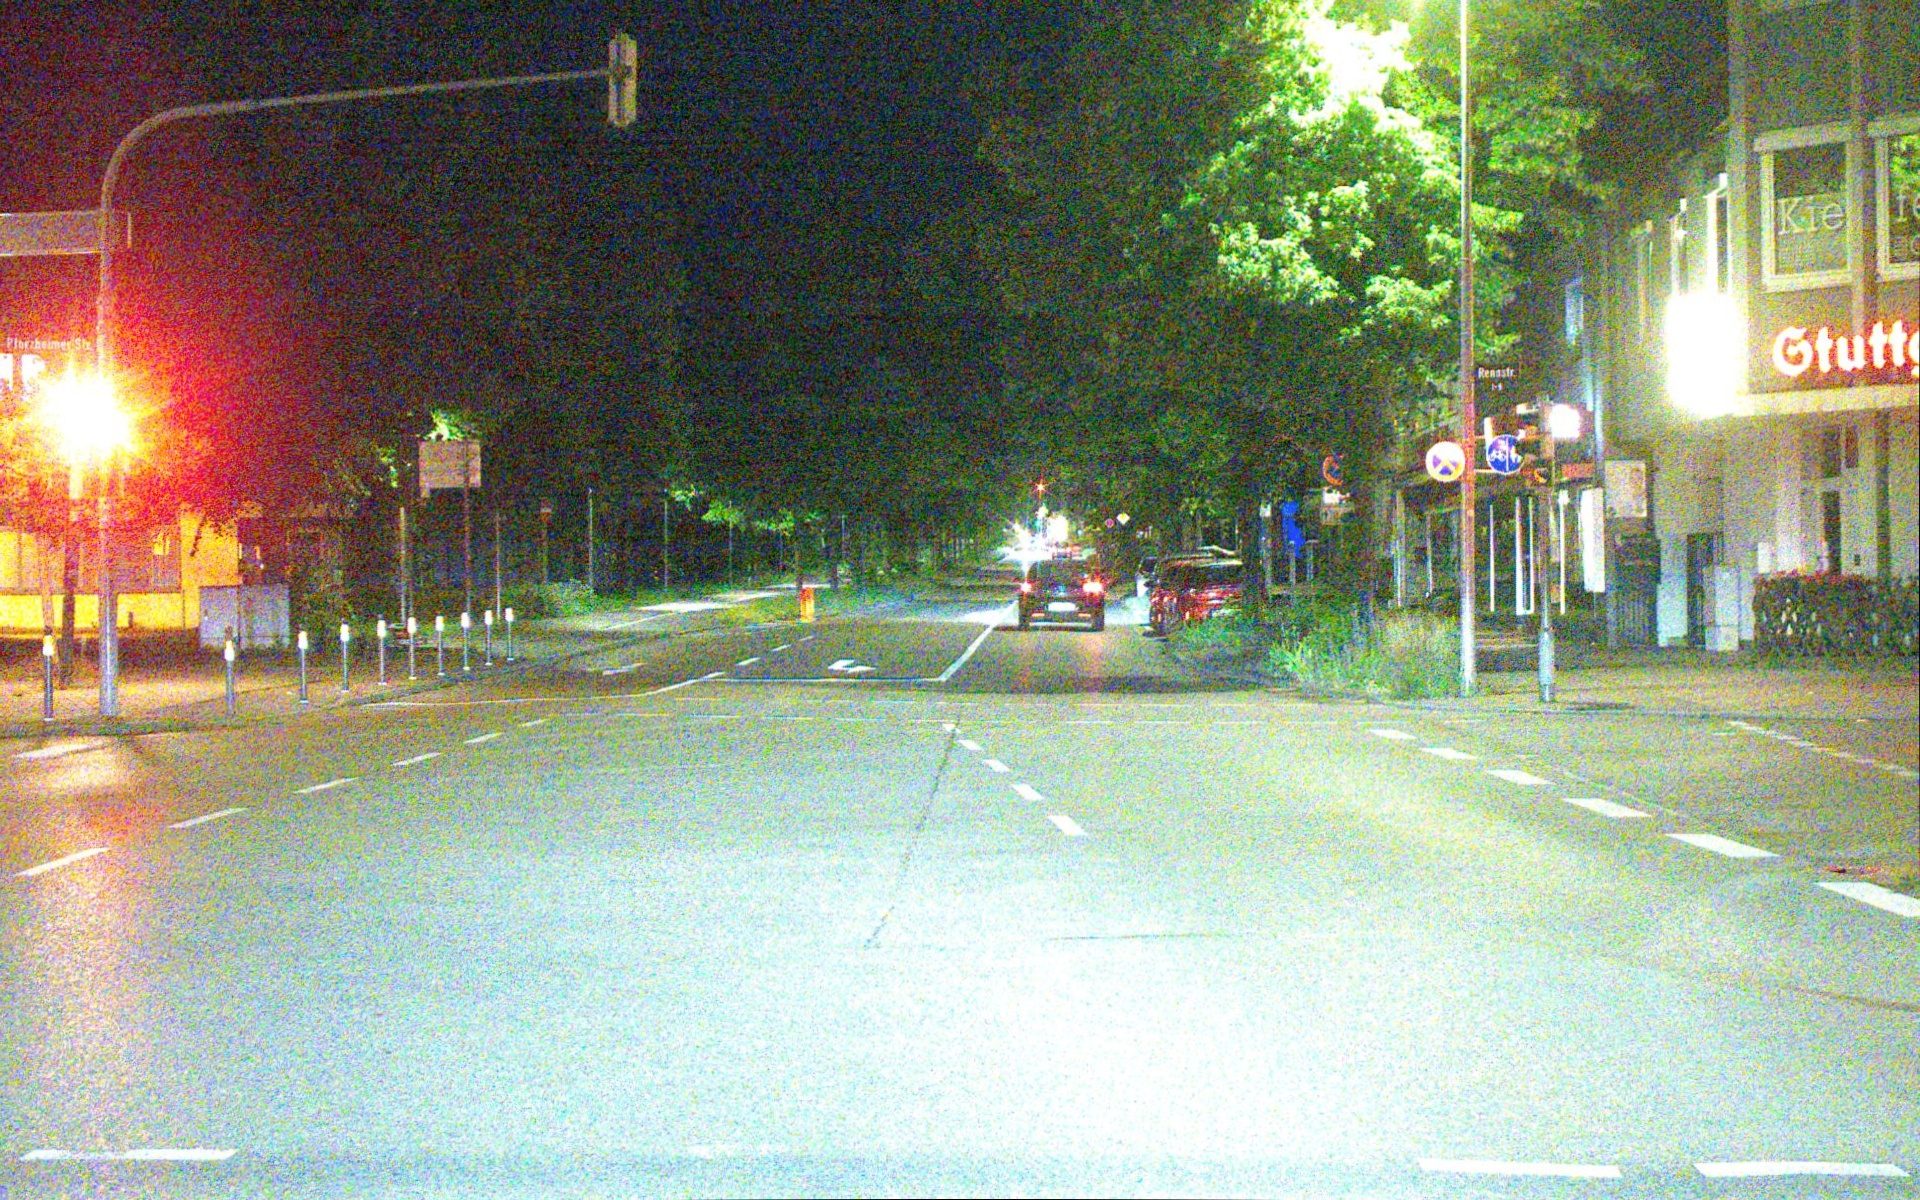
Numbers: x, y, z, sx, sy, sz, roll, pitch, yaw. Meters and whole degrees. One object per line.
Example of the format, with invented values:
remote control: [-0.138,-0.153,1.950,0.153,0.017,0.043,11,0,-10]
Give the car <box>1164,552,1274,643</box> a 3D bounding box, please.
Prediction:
car: [4.753,-0.073,63.519,1.876,1.610,4.000,0,1,2]

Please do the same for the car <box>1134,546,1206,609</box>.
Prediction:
car: [5.751,-0.630,94.507,1.876,1.678,4.000,0,1,2]

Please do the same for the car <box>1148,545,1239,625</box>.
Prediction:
car: [5.168,-0.339,76.474,1.876,1.723,4.000,0,1,2]

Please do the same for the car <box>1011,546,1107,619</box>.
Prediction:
car: [2.099,-0.383,71.786,1.874,1.449,4.316,1,1,3]

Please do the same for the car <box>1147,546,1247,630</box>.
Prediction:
car: [4.708,-0.259,68.803,1.876,1.610,4.000,0,1,2]
